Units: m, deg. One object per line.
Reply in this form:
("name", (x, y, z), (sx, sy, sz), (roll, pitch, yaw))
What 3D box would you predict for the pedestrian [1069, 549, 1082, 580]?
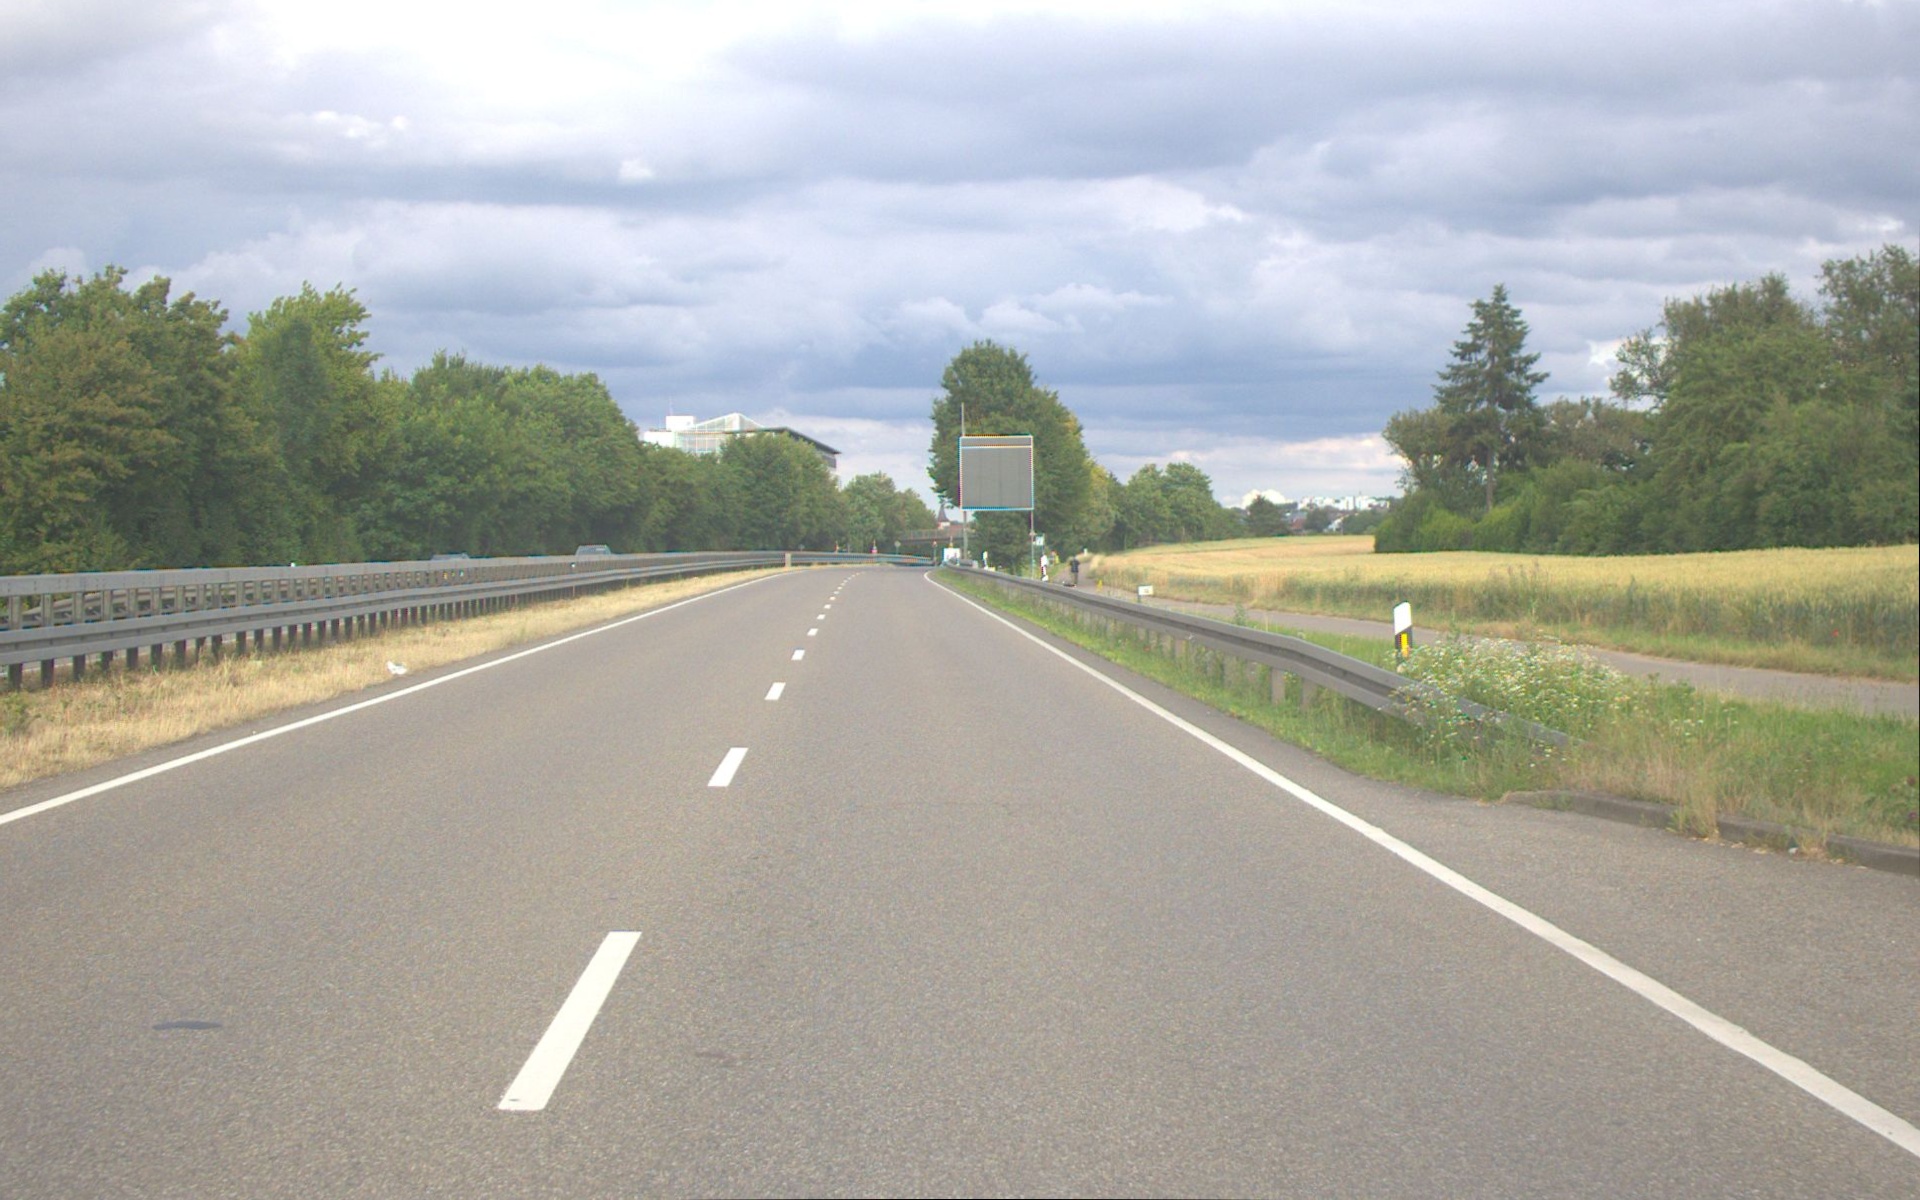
("pedestrian", (6.210, -1.926, 185.201), (0.601, 1.660, 0.543), (1, 0, -3))
